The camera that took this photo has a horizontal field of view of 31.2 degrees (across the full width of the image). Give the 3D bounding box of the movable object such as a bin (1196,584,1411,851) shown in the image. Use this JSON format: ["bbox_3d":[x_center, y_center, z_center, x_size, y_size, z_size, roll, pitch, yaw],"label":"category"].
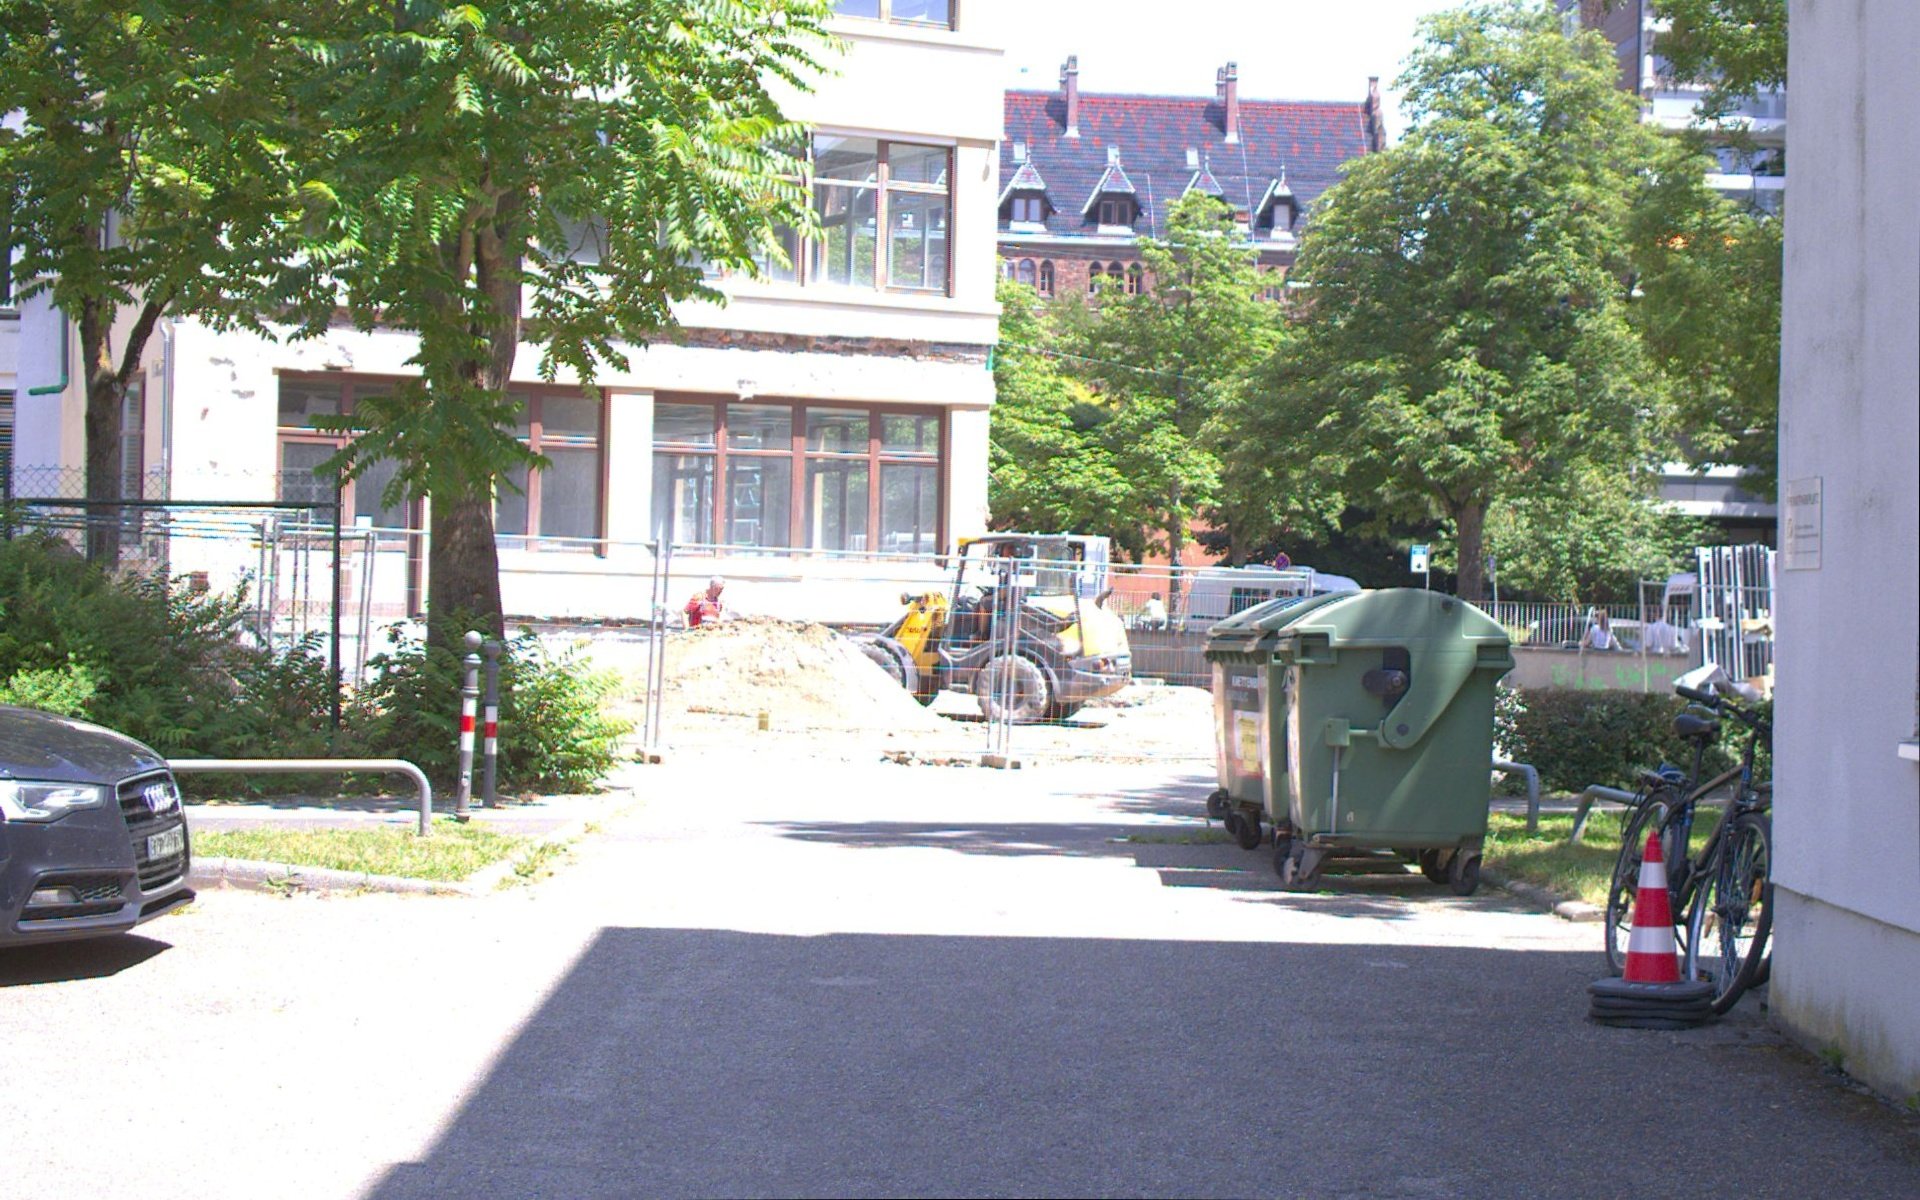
[{"bbox_3d":[1.947,0.653,19.692,1.075,1.453,1.377,1,-1,0],"label":"movable object such as a bin"}]

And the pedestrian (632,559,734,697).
[{"bbox_3d":[-3.744,0.375,46.488,0.985,1.840,0.914,1,-1,45],"label":"pedestrian"}]

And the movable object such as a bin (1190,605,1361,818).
[{"bbox_3d":[2.241,0.781,24.621,1.075,1.453,1.377,1,-1,0],"label":"movable object such as a bin"}]

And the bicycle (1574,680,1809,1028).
[{"bbox_3d":[2.554,0.852,12.152,0.405,1.098,1.826,1,0,-1],"label":"bicycle"}]

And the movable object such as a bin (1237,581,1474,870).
[{"bbox_3d":[2.071,0.645,18.220,1.075,1.453,1.377,1,-1,0],"label":"movable object such as a bin"}]

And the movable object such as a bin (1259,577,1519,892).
[{"bbox_3d":[2.066,0.634,16.777,1.075,1.453,1.377,1,-1,0],"label":"movable object such as a bin"}]

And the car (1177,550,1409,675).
[{"bbox_3d":[6.709,0.246,69.897,1.993,2.408,5.243,2,-1,-29],"label":"car"}]

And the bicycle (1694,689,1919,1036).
[{"bbox_3d":[3.021,0.886,12.206,0.405,1.098,1.826,1,0,-1],"label":"bicycle"}]

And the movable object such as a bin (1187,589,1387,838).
[{"bbox_3d":[1.990,0.678,21.114,1.075,1.453,1.377,1,-1,0],"label":"movable object such as a bin"}]

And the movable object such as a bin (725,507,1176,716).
[{"bbox_3d":[-0.141,0.136,45.688,5.411,2.456,2.364,3,0,28],"label":"movable object such as a bin"}]

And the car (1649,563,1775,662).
[{"bbox_3d":[17.950,0.316,81.905,2.186,2.250,4.863,1,0,21],"label":"car"}]

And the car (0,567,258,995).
[{"bbox_3d":[-4.938,0.548,12.181,4.429,1.375,2.023,1,0,2],"label":"car"}]
